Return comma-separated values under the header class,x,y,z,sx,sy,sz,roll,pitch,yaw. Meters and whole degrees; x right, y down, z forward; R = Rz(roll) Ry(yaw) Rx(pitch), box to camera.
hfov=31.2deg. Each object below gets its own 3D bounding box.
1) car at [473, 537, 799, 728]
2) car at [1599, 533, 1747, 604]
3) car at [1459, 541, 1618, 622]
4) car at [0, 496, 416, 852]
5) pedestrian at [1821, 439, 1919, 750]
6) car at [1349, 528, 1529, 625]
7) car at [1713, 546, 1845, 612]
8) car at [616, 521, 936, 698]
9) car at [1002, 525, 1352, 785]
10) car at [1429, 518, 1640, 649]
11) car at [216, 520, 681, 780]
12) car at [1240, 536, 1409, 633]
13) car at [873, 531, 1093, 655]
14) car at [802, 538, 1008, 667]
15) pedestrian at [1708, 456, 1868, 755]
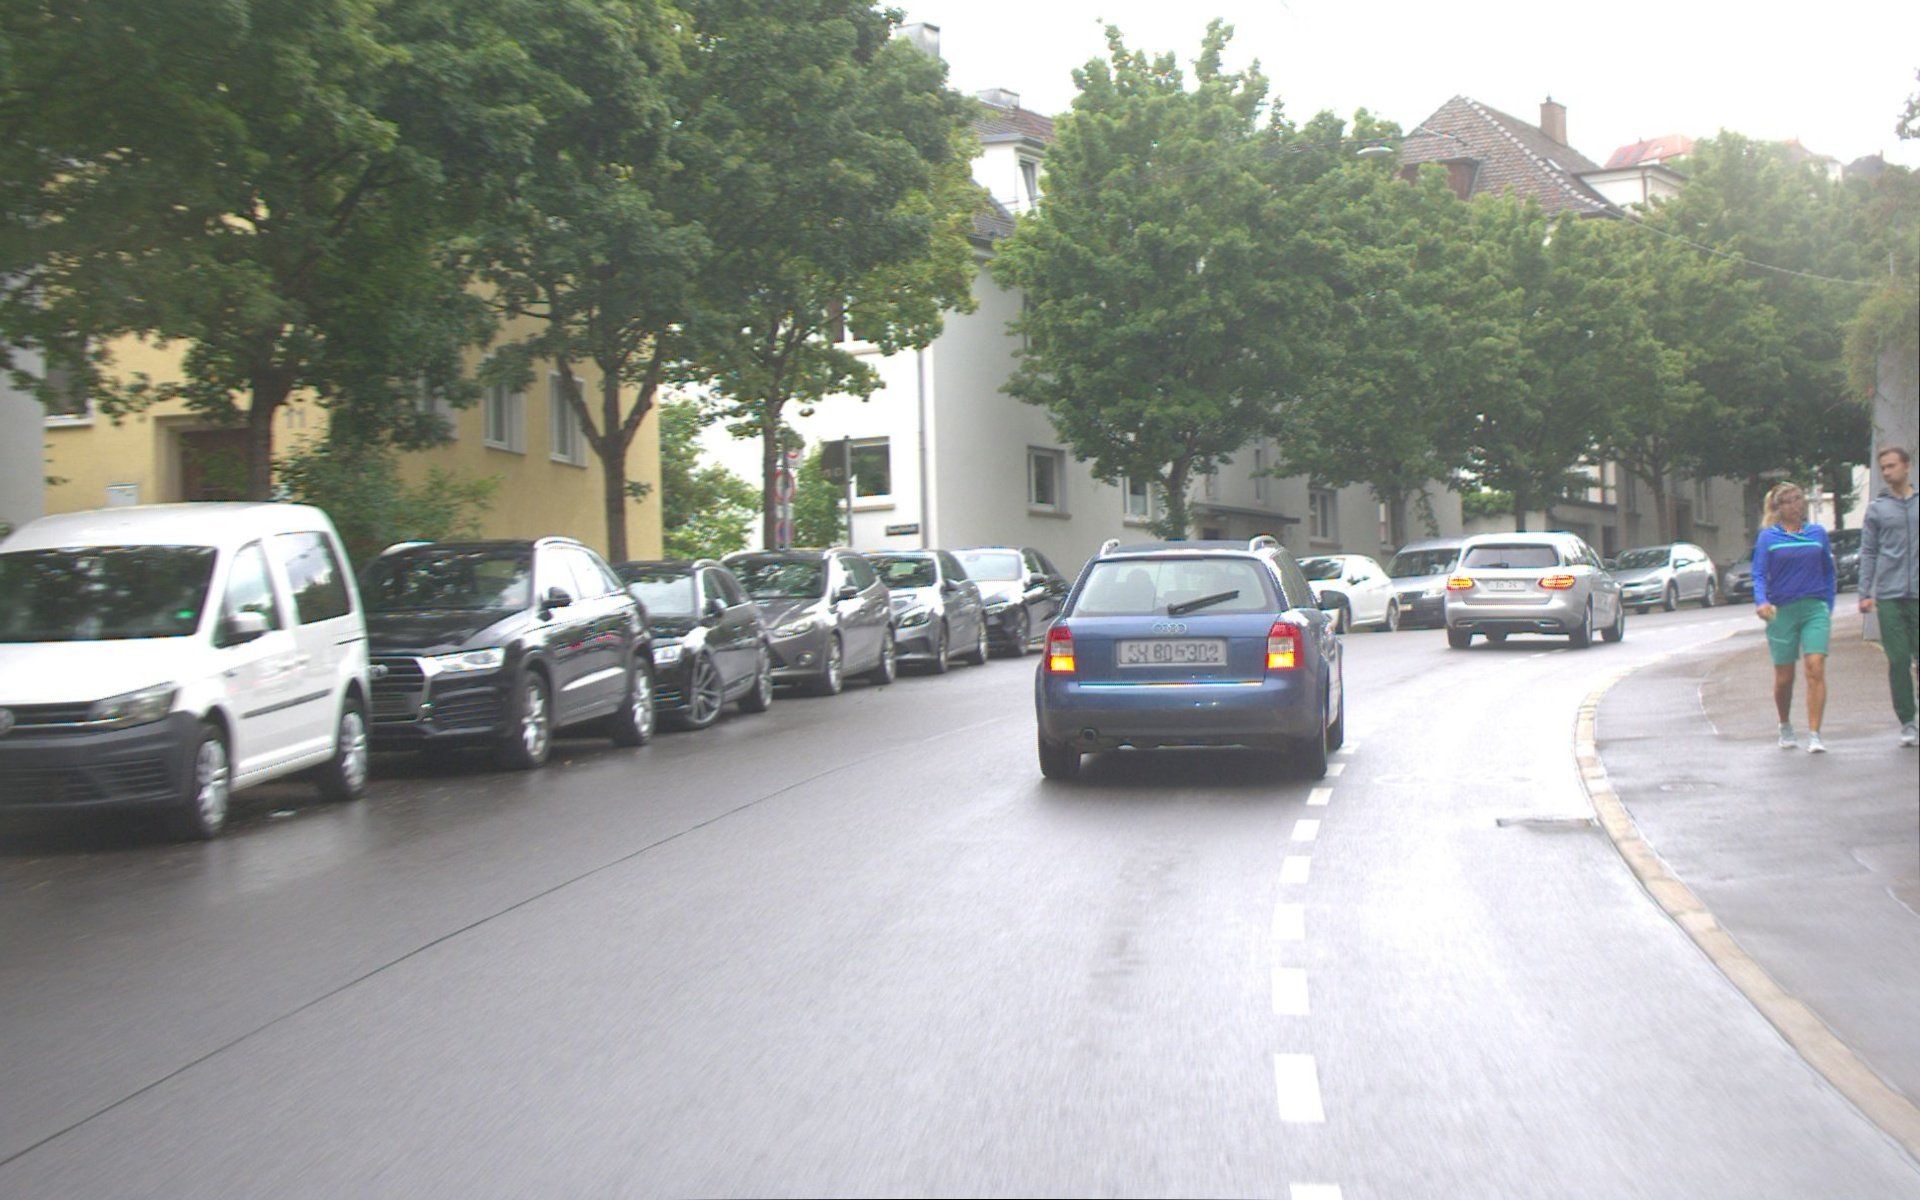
class,x,y,z,sx,sy,sz,roll,pitch,yaw
car,-2.717,0.221,29.966,1.854,1.493,4.740,-1,1,7
car,15.540,-0.669,74.752,1.807,1.448,4.589,-1,0,29
car,11.860,-0.376,70.305,1.807,1.481,4.229,-5,-2,29
car,-4.669,0.343,19.486,1.854,1.770,4.481,-1,1,8
pedestrian,5.769,-0.043,21.000,0.776,1.826,1.251,-3,0,8
car,9.154,-0.437,65.452,1.787,1.640,4.338,-5,-3,30
car,20.100,-0.497,84.243,1.807,1.547,4.791,-1,0,30
car,-1.800,0.052,35.384,1.855,1.684,4.551,-1,1,16
car,1.478,0.285,21.772,1.854,1.409,4.360,-2,1,8
car,7.478,-0.257,44.422,1.952,1.556,4.259,1,2,20
car,-3.547,0.293,24.781,1.855,1.662,4.586,-2,1,11
car,6.467,-0.233,60.593,1.786,1.509,4.341,-5,-2,21
car,0.366,-0.116,45.537,1.776,1.535,4.513,-1,1,16
car,-0.590,-0.004,40.523,1.614,1.392,4.321,-2,1,10
pedestrian,5.061,0.030,21.064,0.775,1.752,1.011,-3,0,8
